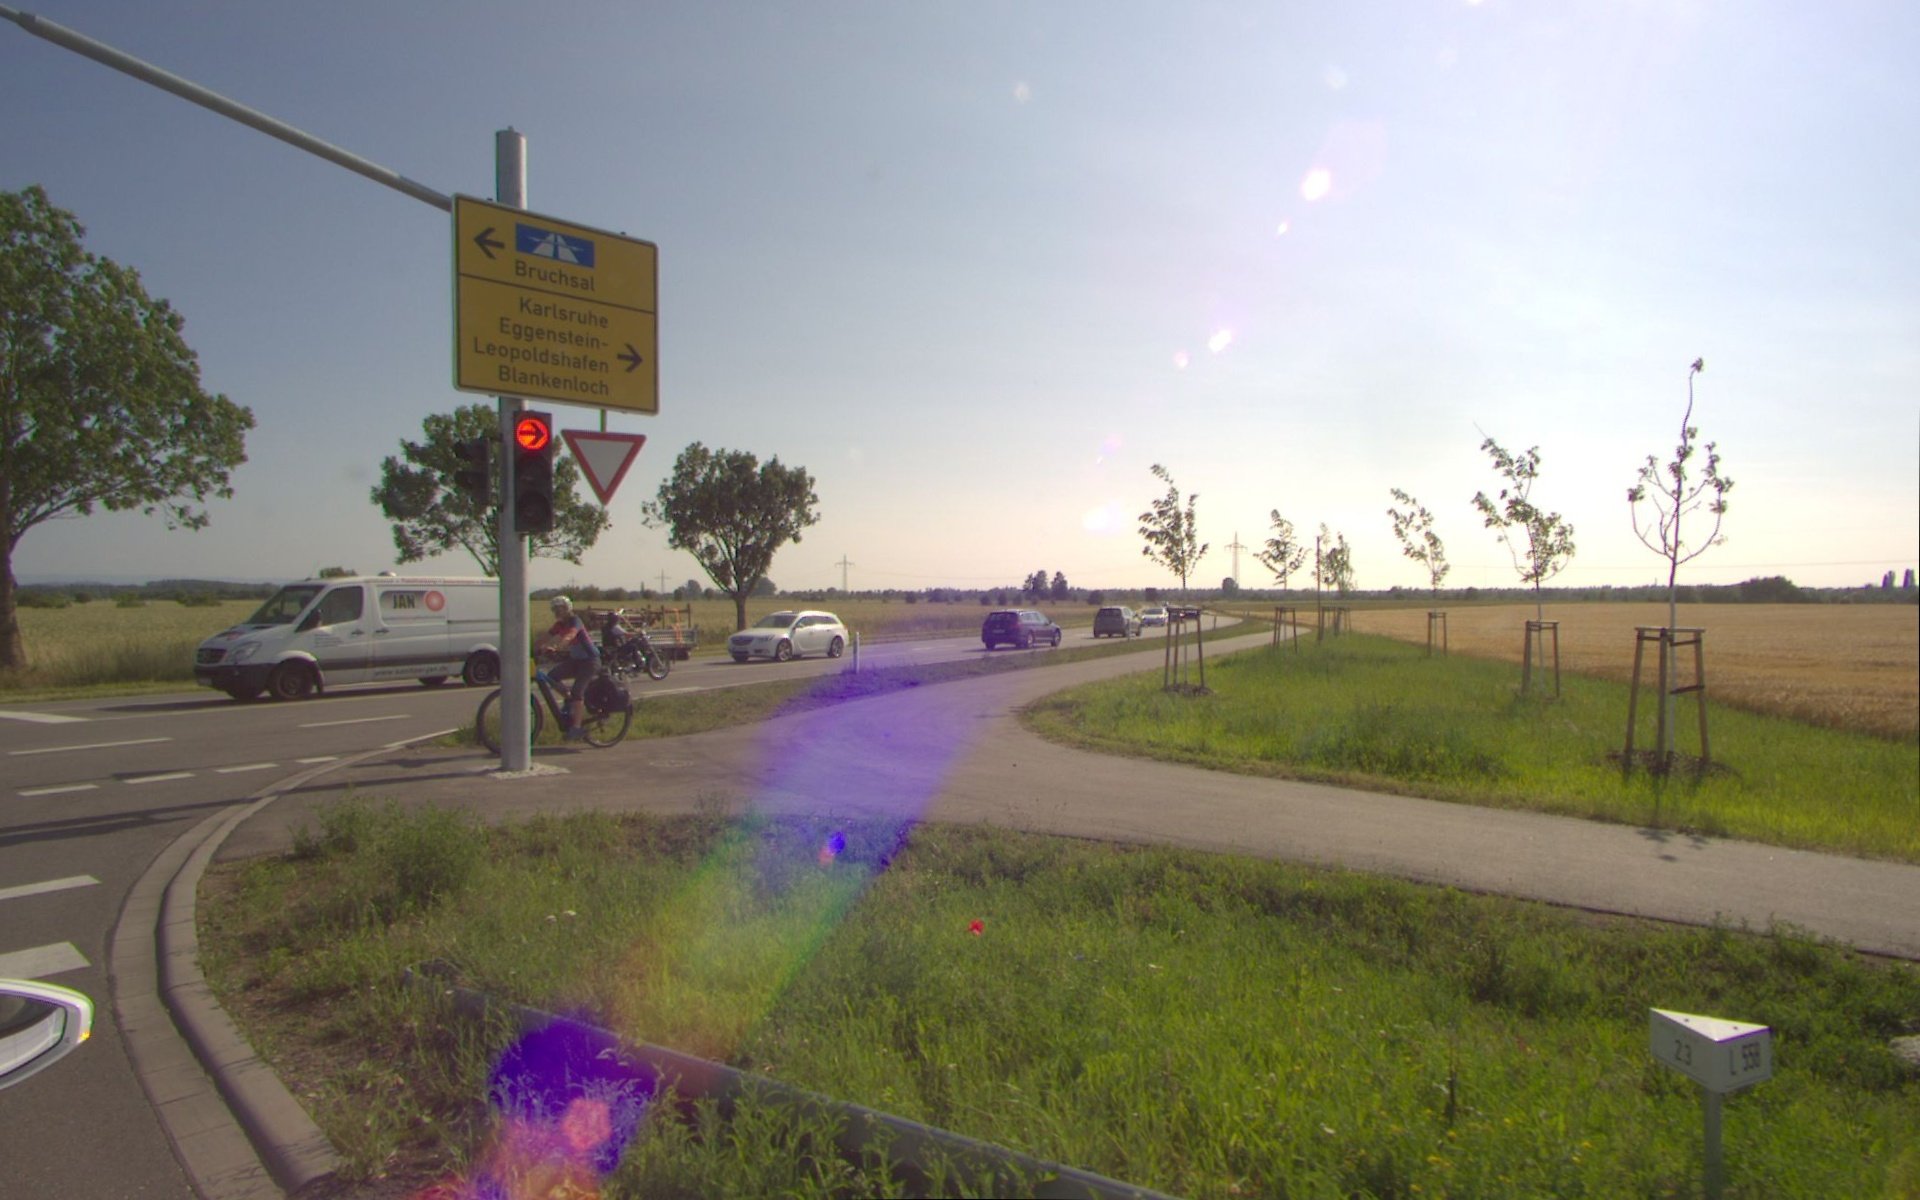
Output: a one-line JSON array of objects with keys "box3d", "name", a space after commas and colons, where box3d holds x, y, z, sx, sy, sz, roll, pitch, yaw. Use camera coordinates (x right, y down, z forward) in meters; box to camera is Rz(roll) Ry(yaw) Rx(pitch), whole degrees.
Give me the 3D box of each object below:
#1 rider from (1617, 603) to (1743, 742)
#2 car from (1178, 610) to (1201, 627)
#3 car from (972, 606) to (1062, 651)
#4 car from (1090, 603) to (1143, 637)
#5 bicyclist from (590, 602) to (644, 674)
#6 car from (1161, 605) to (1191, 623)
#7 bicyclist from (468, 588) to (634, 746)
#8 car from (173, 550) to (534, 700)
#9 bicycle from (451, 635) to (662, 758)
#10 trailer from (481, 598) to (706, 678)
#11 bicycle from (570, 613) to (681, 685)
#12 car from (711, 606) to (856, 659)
[{"box3d": [9.052, 0.883, 12.616, 0.973, 1.665, 0.819, 1, 2, -16], "name": "rider"}, {"box3d": [23.955, 1.922, 104.347, 1.964, 1.713, 4.877, 1, 0, 17], "name": "car"}, {"box3d": [2.261, 1.047, 38.264, 1.890, 1.539, 4.674, 1, 1, 24], "name": "car"}, {"box3d": [8.067, 1.050, 51.481, 1.735, 1.689, 3.958, -1, -2, 24], "name": "car"}, {"box3d": [-7.322, 0.816, 21.389, 0.746, 1.508, 0.807, -1, -1, 28], "name": "bicyclist"}, {"box3d": [19.421, 1.262, 89.765, 1.986, 1.609, 4.875, 1, -1, 20], "name": "car"}, {"box3d": [-4.546, 0.698, 11.189, 1.147, 1.622, 1.278, 1, 0, 28], "name": "bicyclist"}, {"box3d": [-11.730, 0.491, 19.975, 1.970, 2.525, 5.949, -1, -1, 30], "name": "car"}, {"box3d": [-4.482, 1.022, 11.311, 0.876, 1.201, 2.155, -1, -1, 27], "name": "bicycle"}, {"box3d": [-8.908, 0.865, 24.896, 1.925, 1.776, 5.253, -1, 0, 30], "name": "trailer"}, {"box3d": [-7.185, 1.023, 21.672, 0.720, 1.415, 2.489, -1, 0, 27], "name": "bicycle"}, {"box3d": [-5.415, 1.017, 31.402, 1.969, 1.529, 4.867, -1, -2, 27], "name": "car"}]
